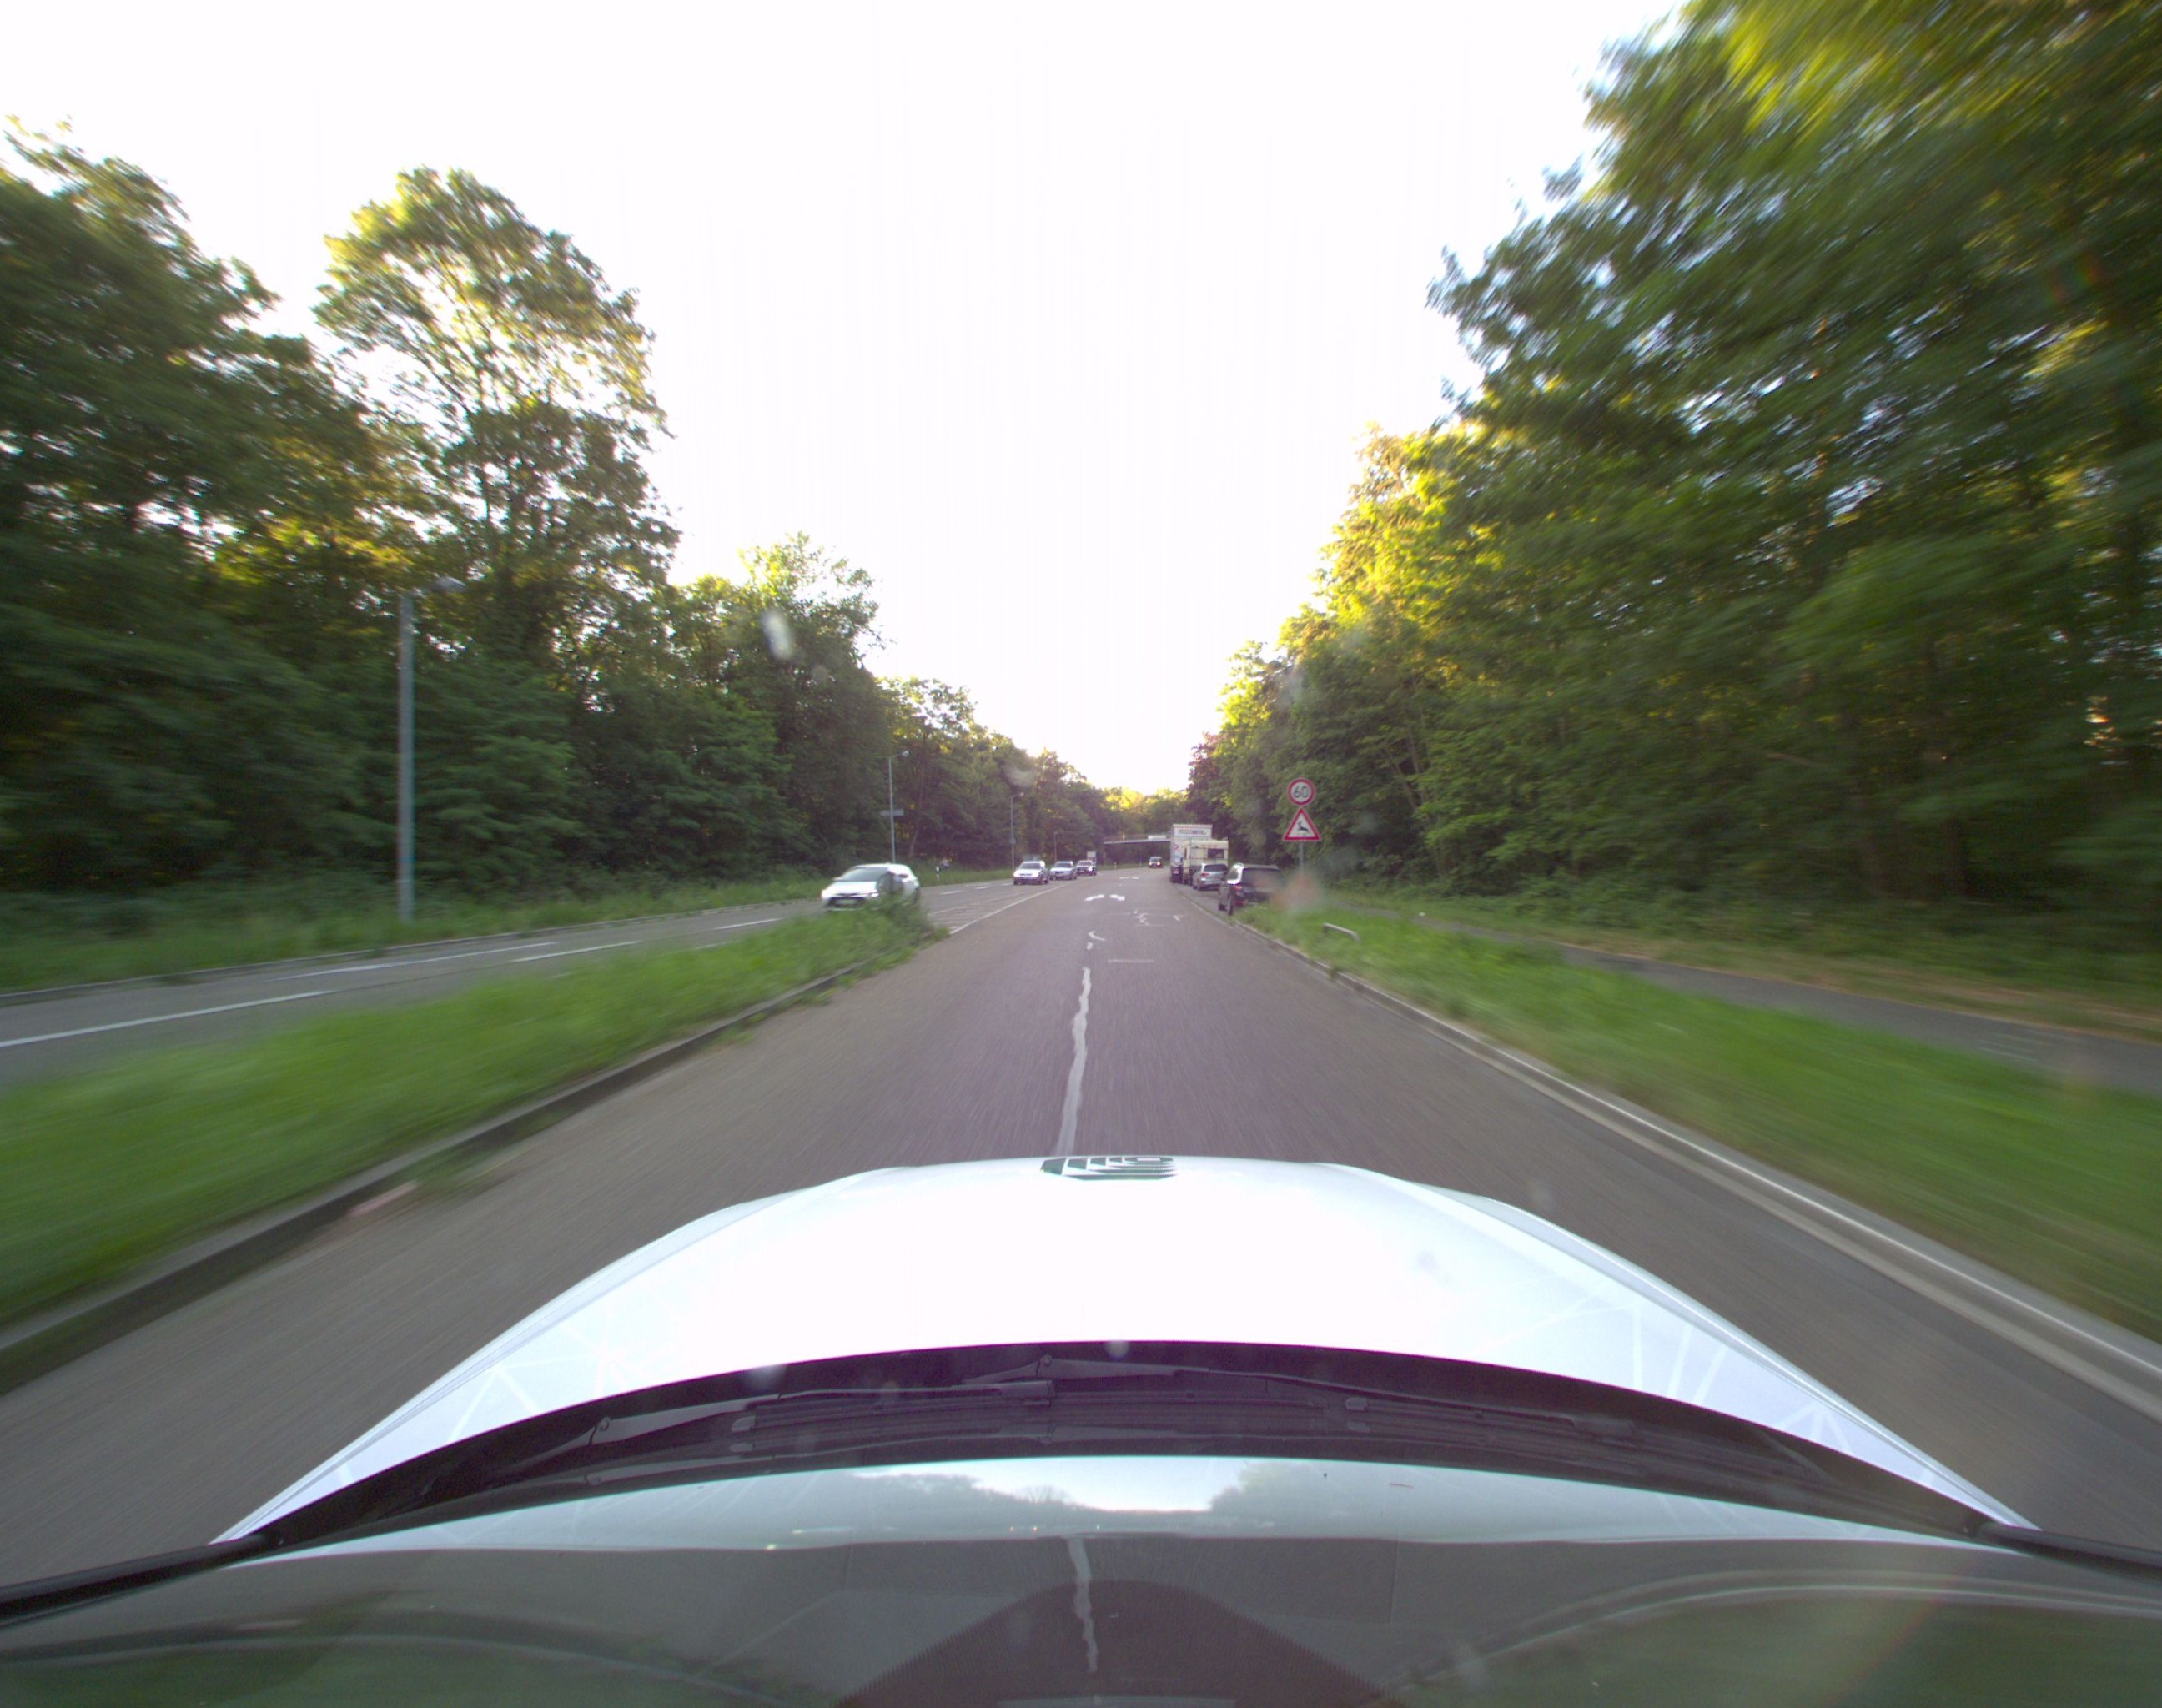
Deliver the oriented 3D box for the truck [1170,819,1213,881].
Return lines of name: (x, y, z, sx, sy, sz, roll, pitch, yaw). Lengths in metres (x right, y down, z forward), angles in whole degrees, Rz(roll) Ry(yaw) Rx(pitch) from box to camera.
truck: (7.781, -0.237, 58.159, 2.644, 4.027, 9.737, -1, 0, 6)

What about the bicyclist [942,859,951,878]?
bicyclist: (-10.528, 1.123, 63.606, 0.620, 1.511, 0.845, -2, 1, -9)

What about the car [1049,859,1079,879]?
car: (-1.280, 1.131, 62.761, 1.711, 1.397, 4.382, -1, 0, 6)

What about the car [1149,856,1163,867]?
car: (12.524, 1.292, 135.895, 1.832, 1.800, 4.761, 0, 0, 10)

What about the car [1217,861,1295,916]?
car: (4.953, 0.934, 23.531, 1.656, 1.405, 3.946, 1, 0, 4)

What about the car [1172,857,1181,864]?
car: (21.483, 1.455, 182.769, 1.832, 1.735, 4.012, 0, 0, 10)

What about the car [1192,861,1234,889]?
car: (6.936, 1.086, 43.209, 1.691, 1.406, 4.078, -1, 0, 2)

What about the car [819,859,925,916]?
car: (-6.113, 0.977, 24.283, 1.827, 1.507, 3.942, -2, -2, 5)

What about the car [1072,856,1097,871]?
car: (0.393, 0.892, 79.563, 1.882, 1.440, 4.779, 0, 0, 7)

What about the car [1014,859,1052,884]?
car: (-2.985, 1.051, 51.104, 1.707, 1.446, 4.180, -1, 0, 5)

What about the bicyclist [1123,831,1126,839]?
bicyclist: (8.801, -3.855, 165.270, 0.660, 1.581, 0.549, 0, -1, 12)

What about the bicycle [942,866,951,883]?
bicycle: (-10.510, 1.576, 63.597, 0.629, 1.217, 2.255, -2, 0, -8)

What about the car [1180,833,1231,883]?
car: (7.538, 0.248, 50.083, 2.399, 2.858, 5.934, 0, -1, 2)

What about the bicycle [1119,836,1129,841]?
bicycle: (8.727, -3.223, 165.280, 1.832, 0.949, 0.552, 0, 0, 12)
